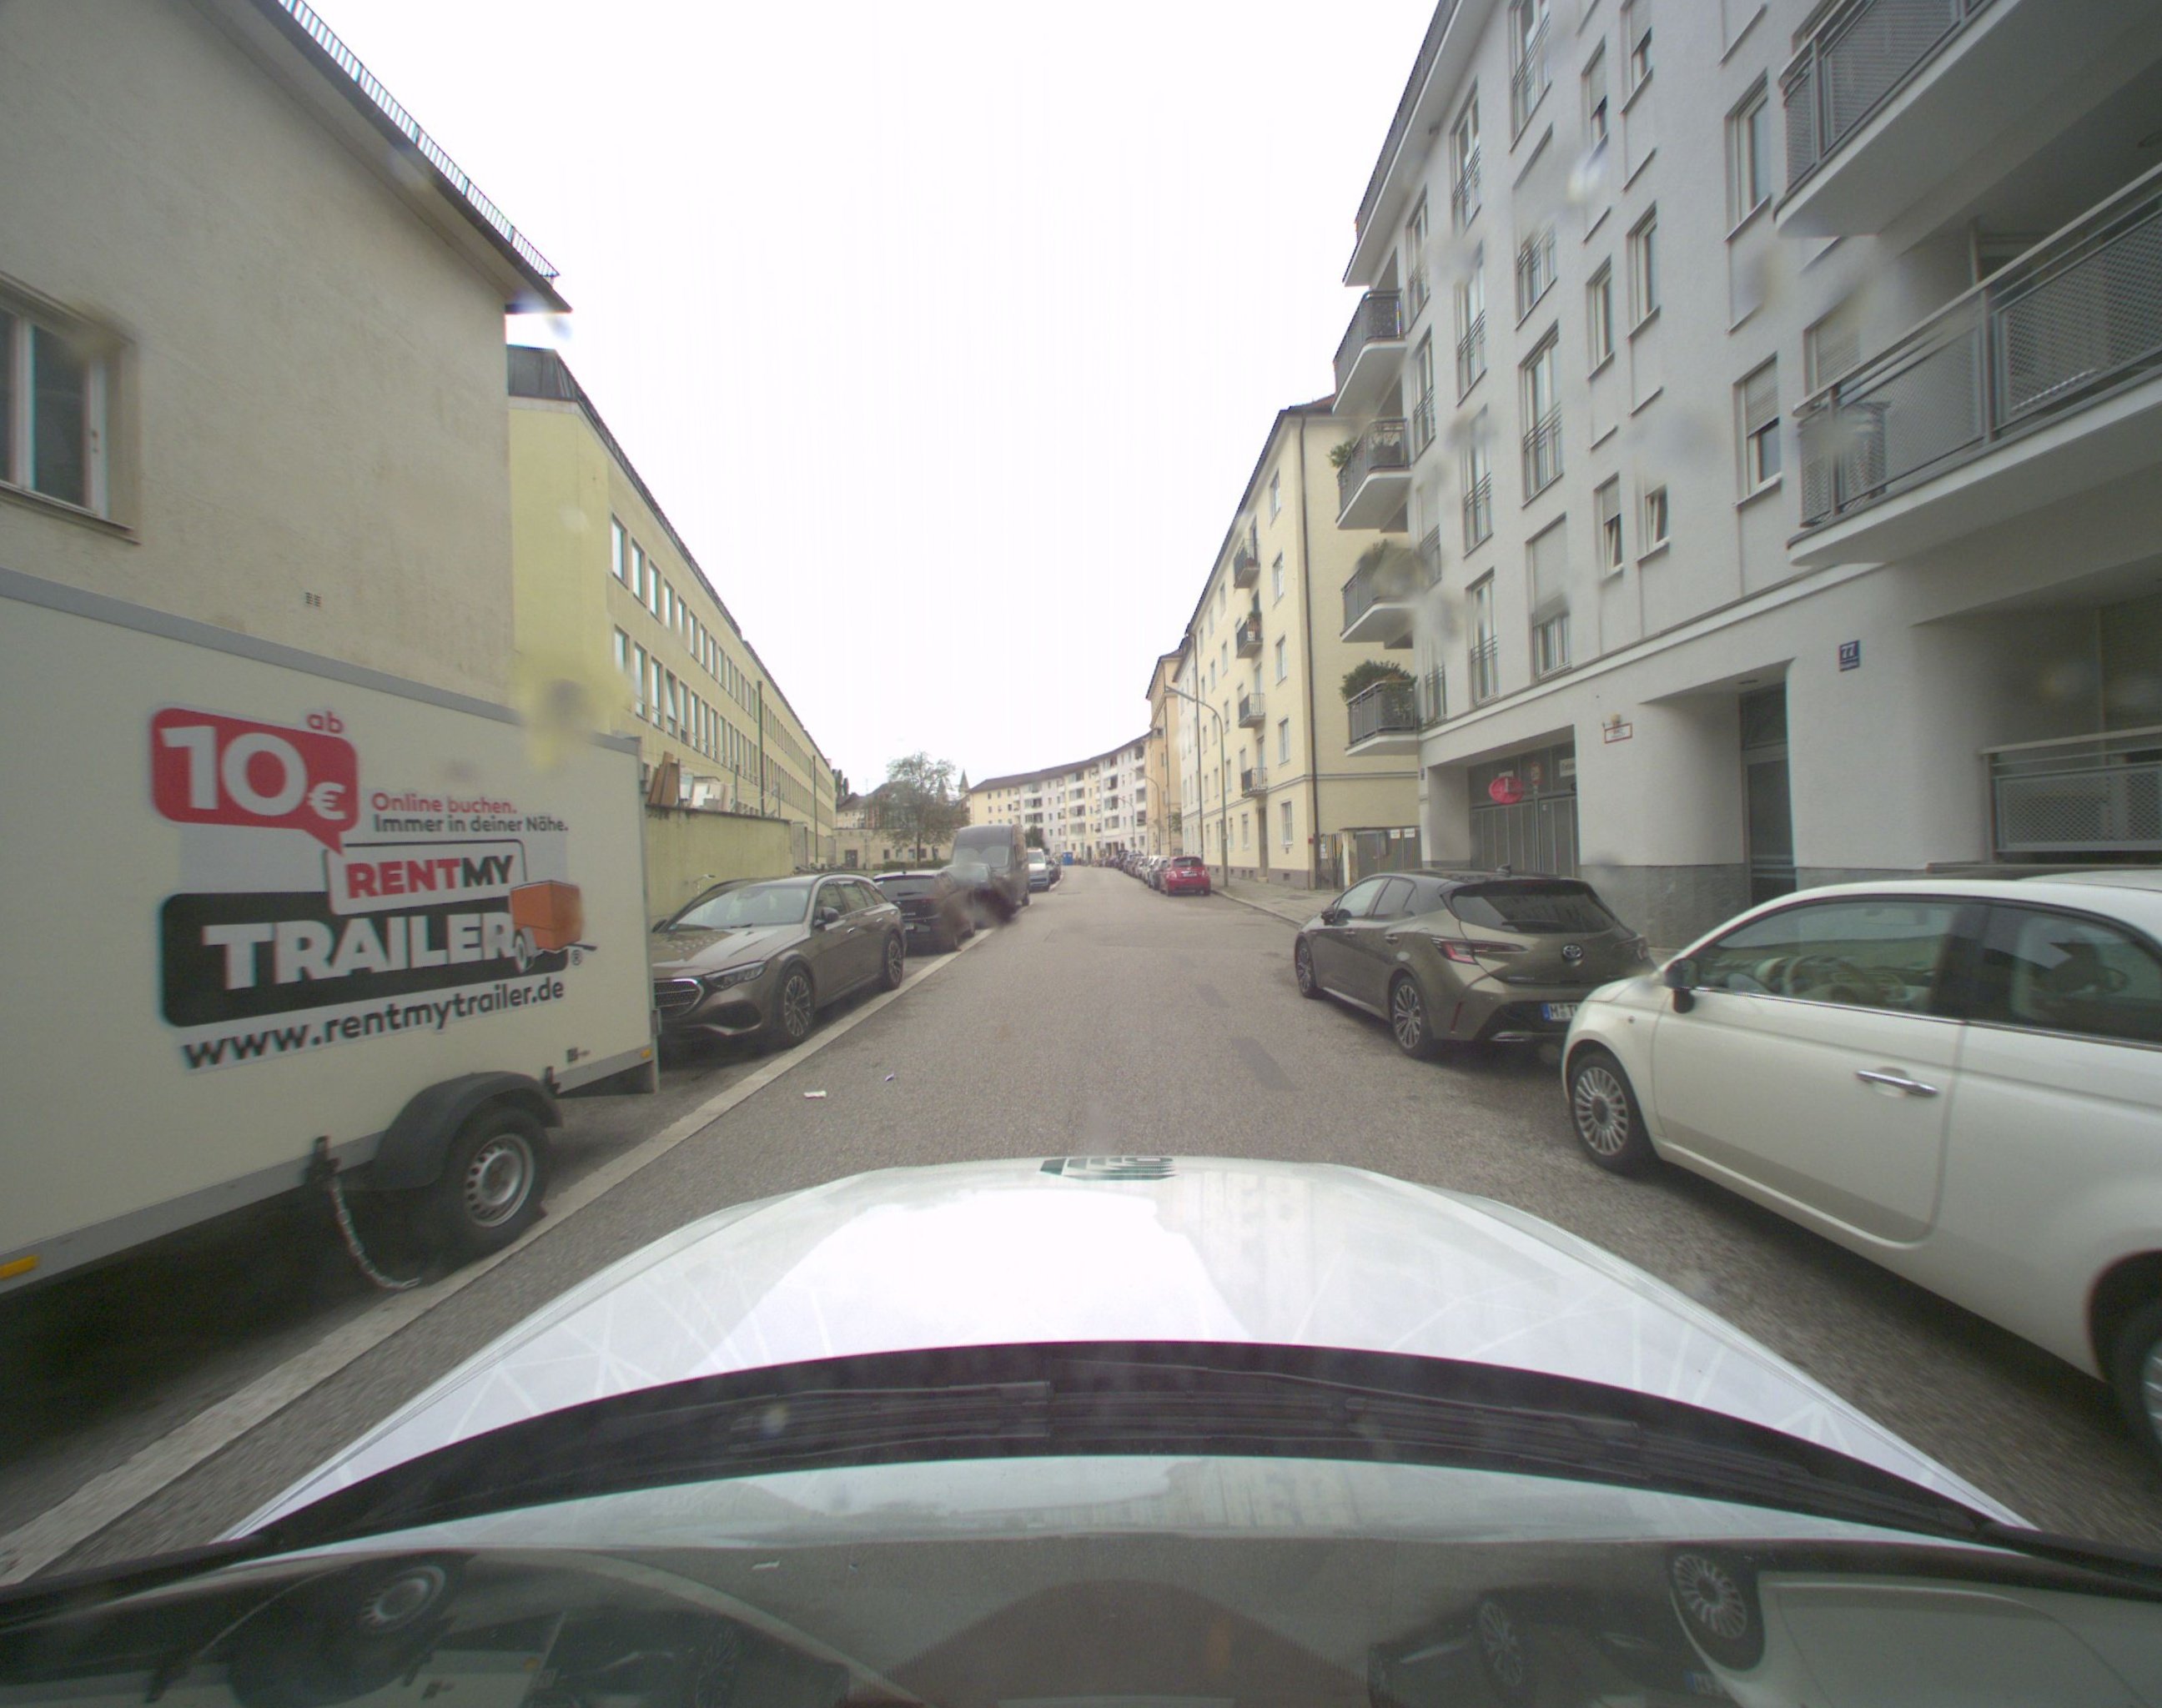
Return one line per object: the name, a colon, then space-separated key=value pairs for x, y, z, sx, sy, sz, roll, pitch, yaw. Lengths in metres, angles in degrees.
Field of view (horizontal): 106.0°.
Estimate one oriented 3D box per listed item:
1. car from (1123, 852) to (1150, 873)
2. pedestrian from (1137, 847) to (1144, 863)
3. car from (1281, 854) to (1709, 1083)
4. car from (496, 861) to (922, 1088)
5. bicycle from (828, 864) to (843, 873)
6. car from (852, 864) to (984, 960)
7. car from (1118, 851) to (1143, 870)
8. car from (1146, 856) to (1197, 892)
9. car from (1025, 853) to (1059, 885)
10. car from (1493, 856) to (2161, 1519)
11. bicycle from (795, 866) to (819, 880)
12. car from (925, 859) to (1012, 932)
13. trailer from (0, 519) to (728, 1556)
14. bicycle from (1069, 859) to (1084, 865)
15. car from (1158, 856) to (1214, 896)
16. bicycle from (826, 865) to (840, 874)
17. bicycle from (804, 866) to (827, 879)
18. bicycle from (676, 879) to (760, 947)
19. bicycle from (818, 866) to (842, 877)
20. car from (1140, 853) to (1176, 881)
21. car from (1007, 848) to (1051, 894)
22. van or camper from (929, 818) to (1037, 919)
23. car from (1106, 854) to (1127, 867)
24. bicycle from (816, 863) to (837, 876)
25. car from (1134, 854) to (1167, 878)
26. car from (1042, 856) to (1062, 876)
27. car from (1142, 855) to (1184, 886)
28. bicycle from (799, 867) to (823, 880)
car: x=4.533 y=0.649 z=67.181 sx=1.841 sy=1.663 sz=4.496 roll=-1 pitch=0 yaw=-1
pedestrian: x=6.728 y=0.104 z=92.147 sx=0.615 sy=1.690 sz=0.919 roll=-5 pitch=-1 yaw=0
car: x=3.306 y=0.763 z=7.583 sx=1.766 sy=1.476 sz=4.216 roll=-1 pitch=0 yaw=-1
car: x=-3.295 y=0.932 z=8.647 sx=1.856 sy=1.541 sz=5.096 roll=-3 pitch=0 yaw=3
bicycle: x=-26.616 y=1.555 z=88.249 sx=1.474 sy=0.945 sz=0.412 roll=0 pitch=0 yaw=-17
car: x=-2.935 y=0.975 z=15.549 sx=1.671 sy=1.436 sz=4.284 roll=-4 pitch=0 yaw=-2
car: x=4.655 y=0.600 z=77.445 sx=2.162 sy=1.739 sz=5.024 roll=-1 pitch=0 yaw=1
car: x=4.007 y=0.845 z=36.550 sx=1.767 sy=1.429 sz=4.614 roll=-1 pitch=0 yaw=0
car: x=-2.292 y=0.849 z=48.470 sx=1.709 sy=1.689 sz=4.141 roll=-3 pitch=0 yaw=1
car: x=3.292 y=0.763 z=3.120 sx=1.611 sy=1.467 sz=3.748 roll=-1 pitch=0 yaw=1
bicycle: x=-19.197 y=1.317 z=57.039 sx=1.608 sy=0.945 sz=0.500 roll=0 pitch=0 yaw=-19
car: x=-2.670 y=0.939 z=20.148 sx=1.648 sy=1.497 sz=3.905 roll=-4 pitch=0 yaw=-2
trailer: x=-3.500 y=0.479 z=2.952 sx=1.967 sy=2.471 sz=4.582 roll=-5 pitch=-1 yaw=5
bicycle: x=-0.737 y=1.313 z=134.297 sx=2.243 sy=1.069 sz=0.912 roll=-1 pitch=-1 yaw=-24
car: x=4.002 y=0.802 z=31.572 sx=1.649 sy=1.429 sz=3.755 roll=-1 pitch=0 yaw=0
bicycle: x=-25.232 y=1.567 z=82.802 sx=1.410 sy=0.945 sz=0.412 roll=0 pitch=0 yaw=-17
bicycle: x=-20.088 y=1.406 z=61.587 sx=1.611 sy=0.945 sz=0.499 roll=0 pitch=0 yaw=-24
bicycle: x=-7.301 y=1.156 z=16.467 sx=0.799 sy=1.233 sz=1.868 roll=-2 pitch=-1 yaw=1
bicycle: x=-22.113 y=1.535 z=71.848 sx=1.953 sy=0.945 sz=0.412 roll=0 pitch=0 yaw=-13
car: x=4.433 y=0.733 z=47.346 sx=1.646 sy=1.543 sz=3.991 roll=-1 pitch=0 yaw=-2
car: x=-2.380 y=0.738 z=38.148 sx=1.910 sy=1.960 sz=4.957 roll=-1 pitch=0 yaw=-2
van or camper: x=-2.849 y=0.400 z=25.187 sx=2.284 sy=2.651 sz=5.564 roll=-4 pitch=0 yaw=2
car: x=4.094 y=0.727 z=93.921 sx=1.904 sy=1.477 sz=4.940 roll=-1 pitch=0 yaw=-4
bicycle: x=-23.490 y=1.432 z=75.120 sx=1.849 sy=1.096 sz=0.698 roll=0 pitch=0 yaw=-17
car: x=4.413 y=0.757 z=52.375 sx=1.719 sy=1.450 sz=4.186 roll=-1 pitch=0 yaw=-1
car: x=-2.465 y=1.017 z=69.834 sx=1.626 sy=1.494 sz=4.272 roll=-4 pitch=0 yaw=-2
car: x=4.201 y=0.817 z=42.123 sx=1.719 sy=1.429 sz=4.293 roll=-1 pitch=0 yaw=0
bicycle: x=-19.628 y=1.426 z=59.258 sx=1.608 sy=0.945 sz=0.500 roll=0 pitch=0 yaw=-19
